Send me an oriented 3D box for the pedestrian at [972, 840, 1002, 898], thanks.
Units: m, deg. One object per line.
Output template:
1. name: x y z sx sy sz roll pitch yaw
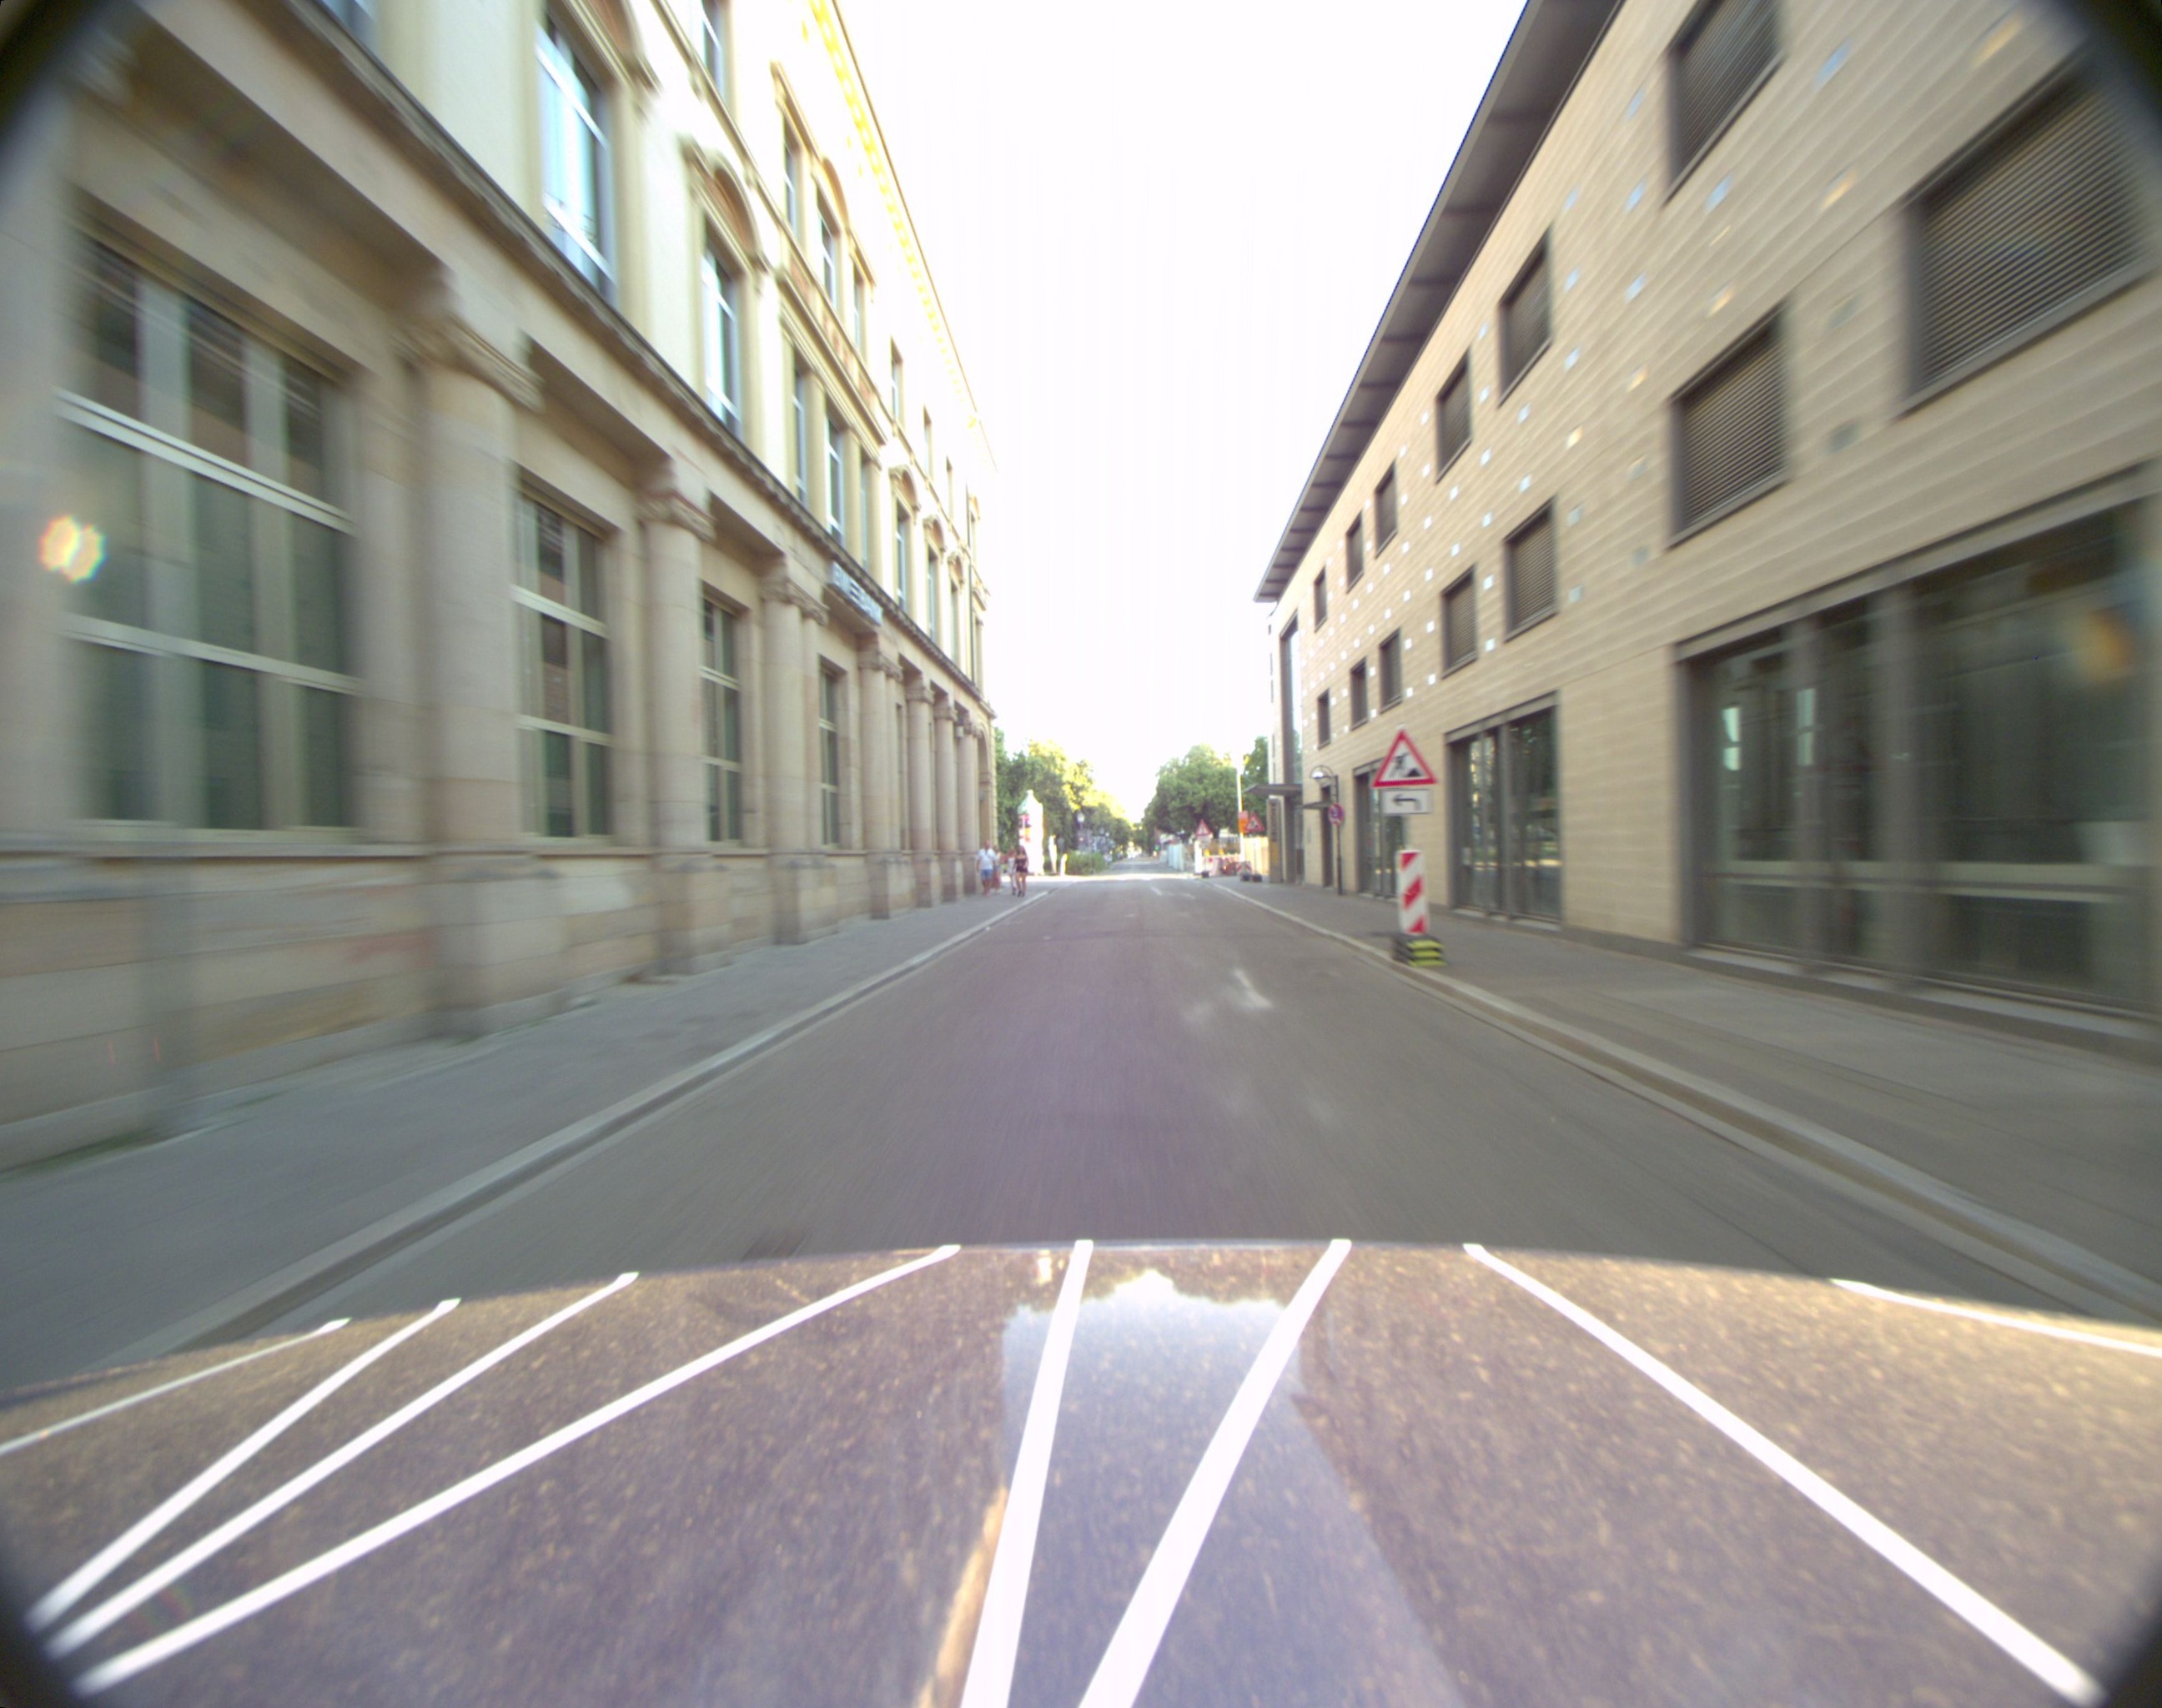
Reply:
1. pedestrian: -3.087 0.490 25.088 0.813 1.864 0.875 -1 1 3

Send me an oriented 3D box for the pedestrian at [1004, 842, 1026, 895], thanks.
1. pedestrian: -2.292 0.492 26.365 0.638 1.793 0.772 -1 1 3

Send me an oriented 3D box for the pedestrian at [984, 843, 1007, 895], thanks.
1. pedestrian: -2.953 0.513 26.385 0.638 1.793 0.772 -1 1 3

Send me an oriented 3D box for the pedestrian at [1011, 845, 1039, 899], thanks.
1. pedestrian: -1.854 0.576 25.248 0.777 1.736 0.875 -1 1 3
